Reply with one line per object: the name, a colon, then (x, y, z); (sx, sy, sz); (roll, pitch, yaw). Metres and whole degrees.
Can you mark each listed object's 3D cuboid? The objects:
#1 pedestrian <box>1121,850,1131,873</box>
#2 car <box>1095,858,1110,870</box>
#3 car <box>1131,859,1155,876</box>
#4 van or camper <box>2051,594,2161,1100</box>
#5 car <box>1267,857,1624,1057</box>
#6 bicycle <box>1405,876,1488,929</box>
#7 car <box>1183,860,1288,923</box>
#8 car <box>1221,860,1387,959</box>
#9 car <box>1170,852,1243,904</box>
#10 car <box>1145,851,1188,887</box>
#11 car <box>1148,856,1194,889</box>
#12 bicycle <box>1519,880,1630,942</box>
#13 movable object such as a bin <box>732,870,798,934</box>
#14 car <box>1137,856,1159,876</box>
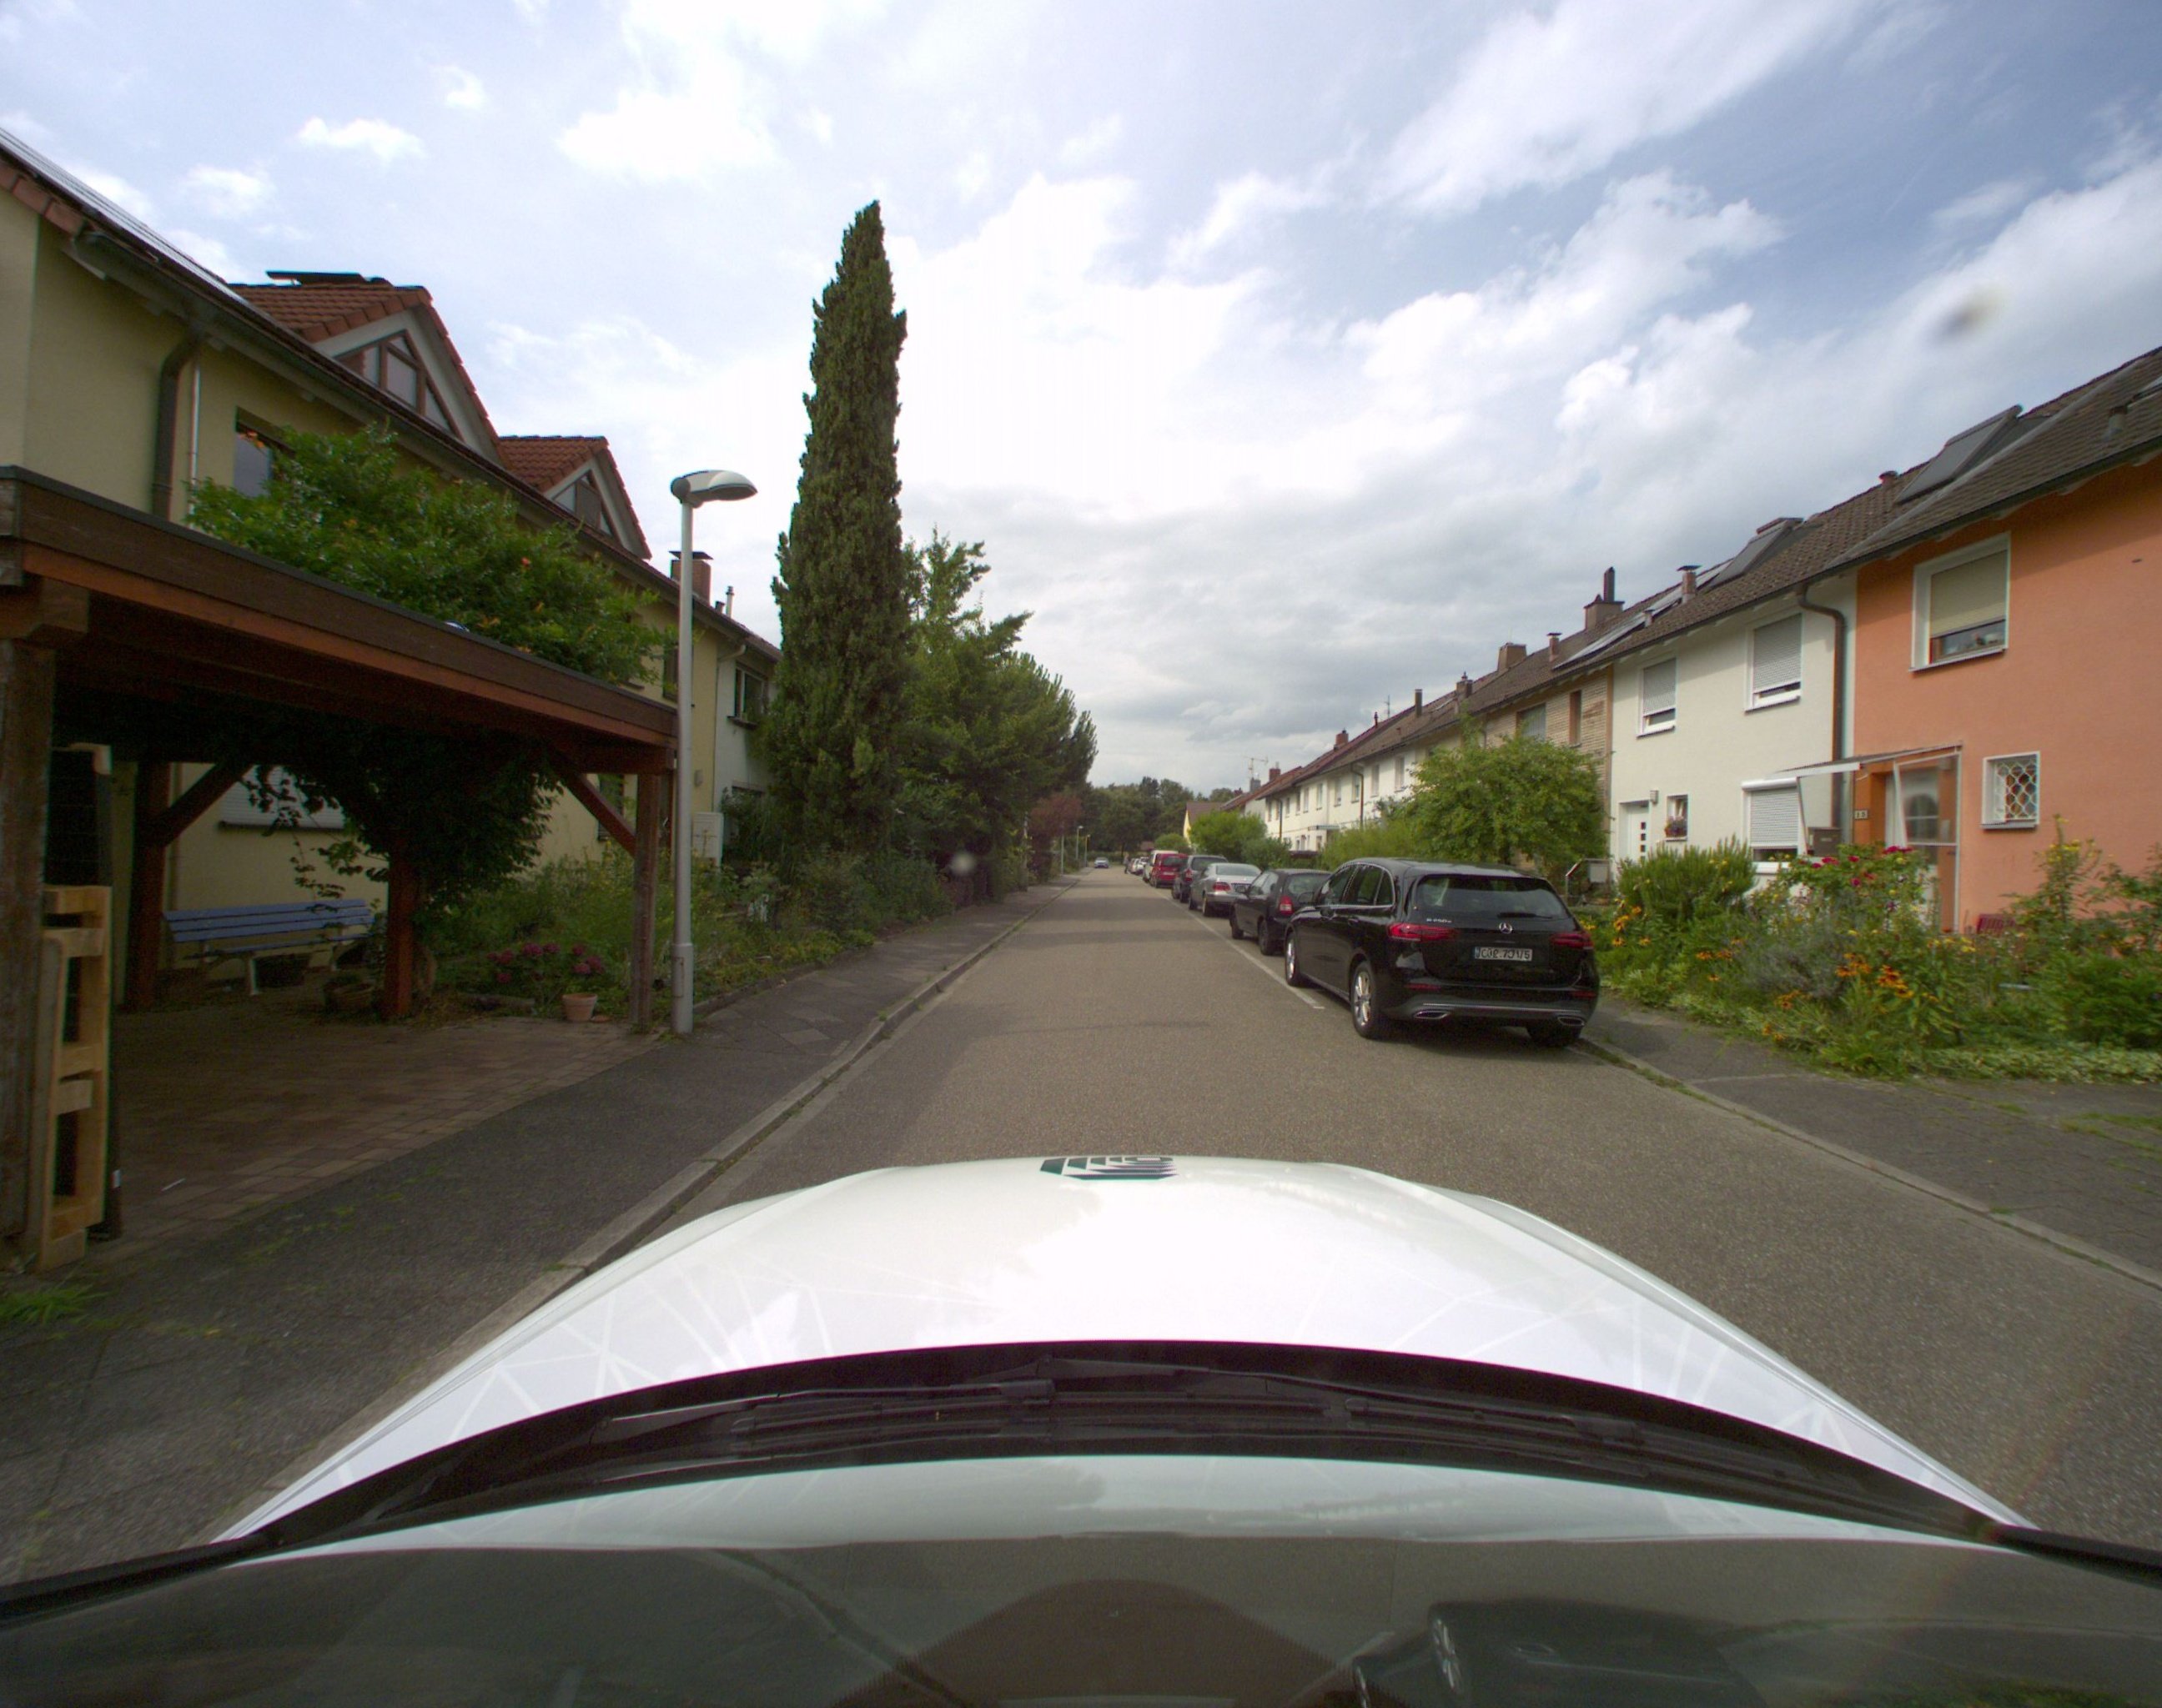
pedestrian: (4.111, 0.678, 74.429); (0.909, 2.014, 0.950); (1, -1, -1)
car: (2.965, 1.376, 112.179); (1.926, 1.556, 4.637); (1, 0, 3)
car: (5.664, 1.221, 74.822); (1.832, 1.413, 4.635); (1, 0, -1)
van or camper: (8.833, -0.014, 3.621); (5.772, 2.818, 2.540); (1, 0, 4)
car: (3.294, 0.791, 8.495); (1.743, 1.467, 4.649); (1, 0, 2)
bicycle: (7.548, 0.995, 16.845); (1.530, 1.023, 0.377); (1, 0, 7)
car: (4.032, 0.915, 22.011); (1.862, 1.407, 4.766); (3, 0, 0)
car: (3.665, 0.835, 14.148); (1.727, 1.428, 4.125); (1, 0, 0)
car: (4.281, 0.783, 28.451); (1.861, 1.653, 4.463); (1, 0, 0)
car: (4.914, 0.854, 47.619); (2.014, 1.947, 4.747); (1, 0, 0)
car: (4.655, 0.935, 42.621); (1.805, 1.651, 4.408); (1, 0, -2)
bicycle: (8.928, 1.002, 14.820); (0.661, 0.982, 1.742); (1, 0, -17)
movable object such as a bin: (-4.952, 0.739, 12.820); (0.709, 0.956, 0.751); (1, 0, 1)
car: (5.512, 0.974, 67.272); (1.707, 1.544, 3.976); (0, 0, 2)
